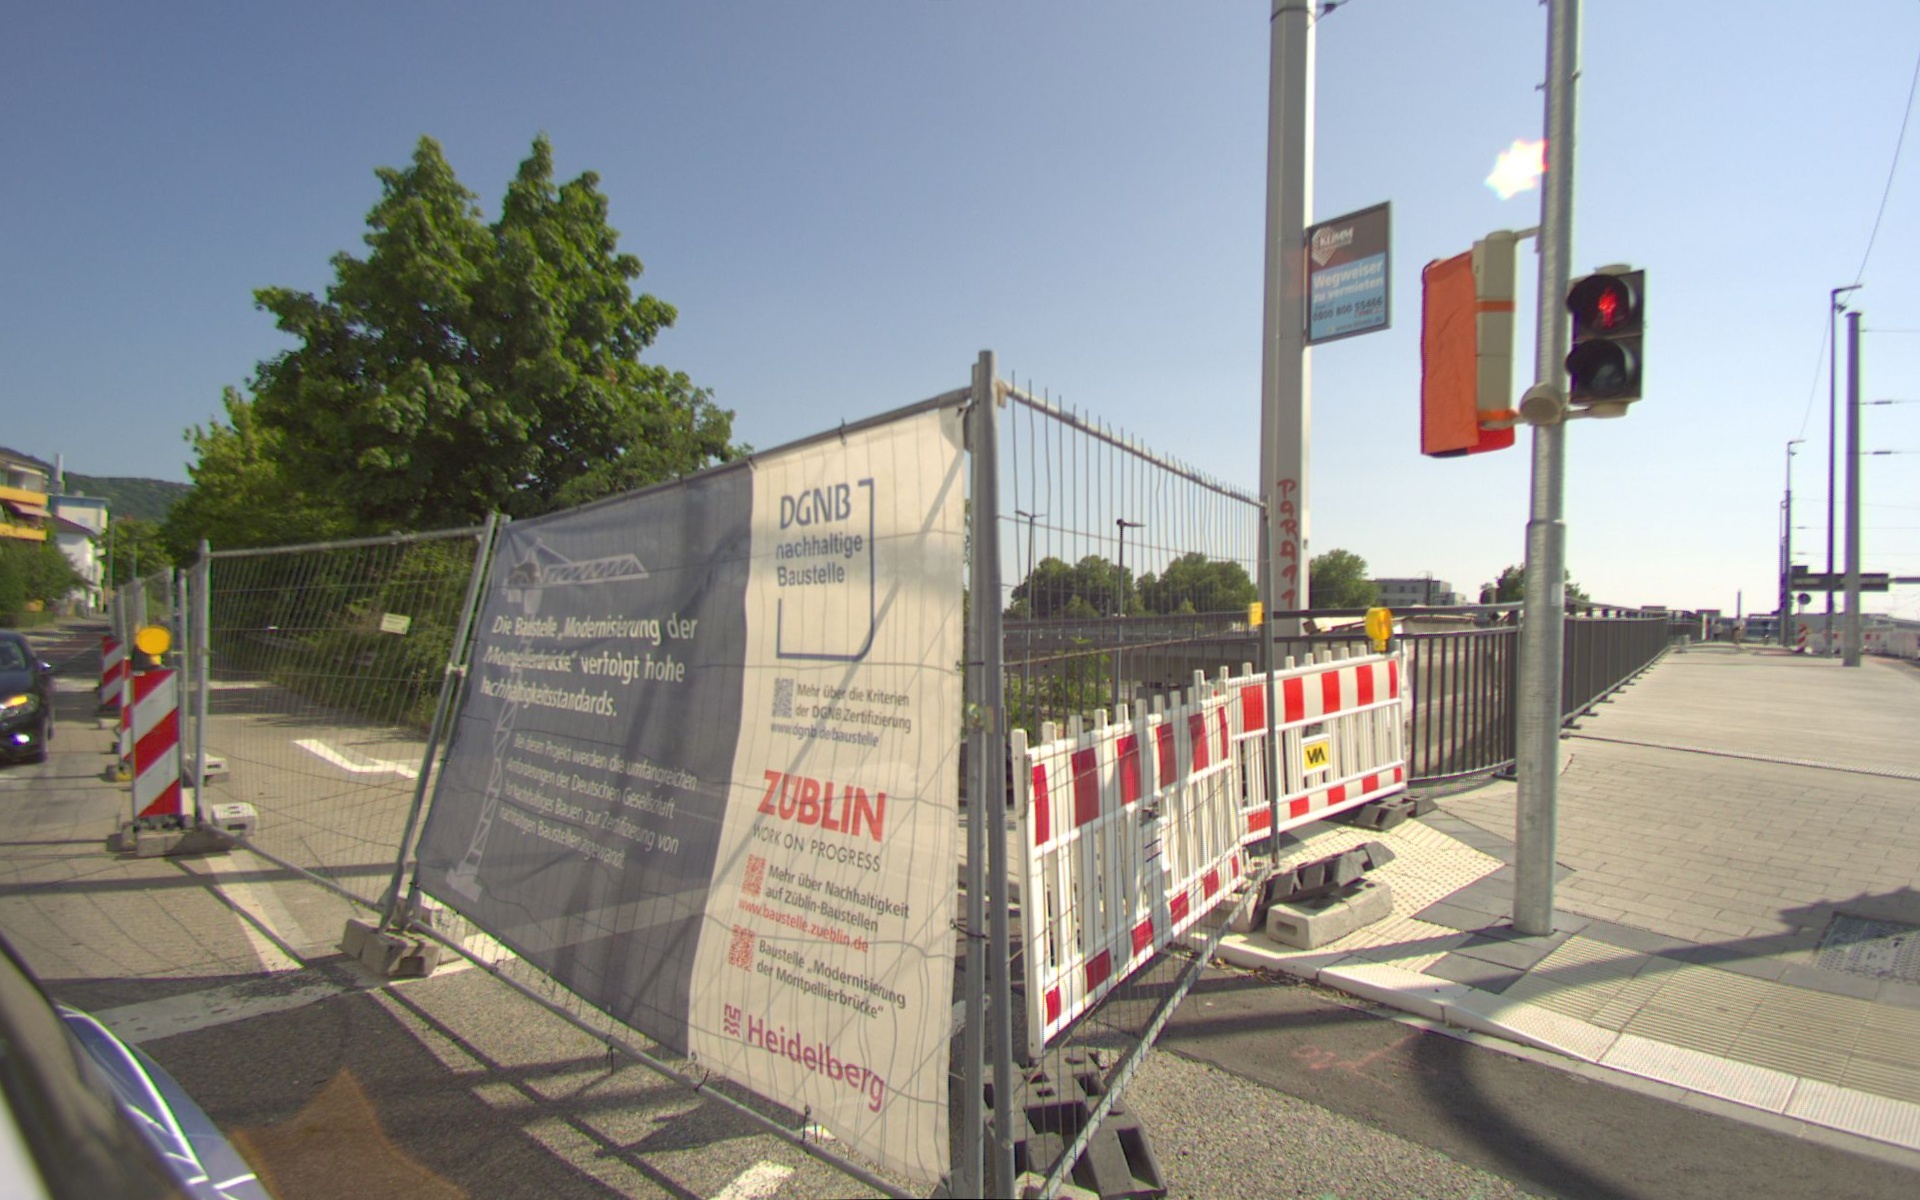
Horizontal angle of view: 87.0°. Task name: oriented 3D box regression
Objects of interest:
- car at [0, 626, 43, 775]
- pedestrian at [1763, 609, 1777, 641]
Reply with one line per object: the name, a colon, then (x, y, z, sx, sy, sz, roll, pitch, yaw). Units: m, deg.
car: (-11.302, 1.010, 11.198, 1.678, 1.419, 4.628, 2, -2, -42)
pedestrian: (49.349, 1.501, 61.673, 0.635, 1.908, 0.742, 2, 0, 39)
